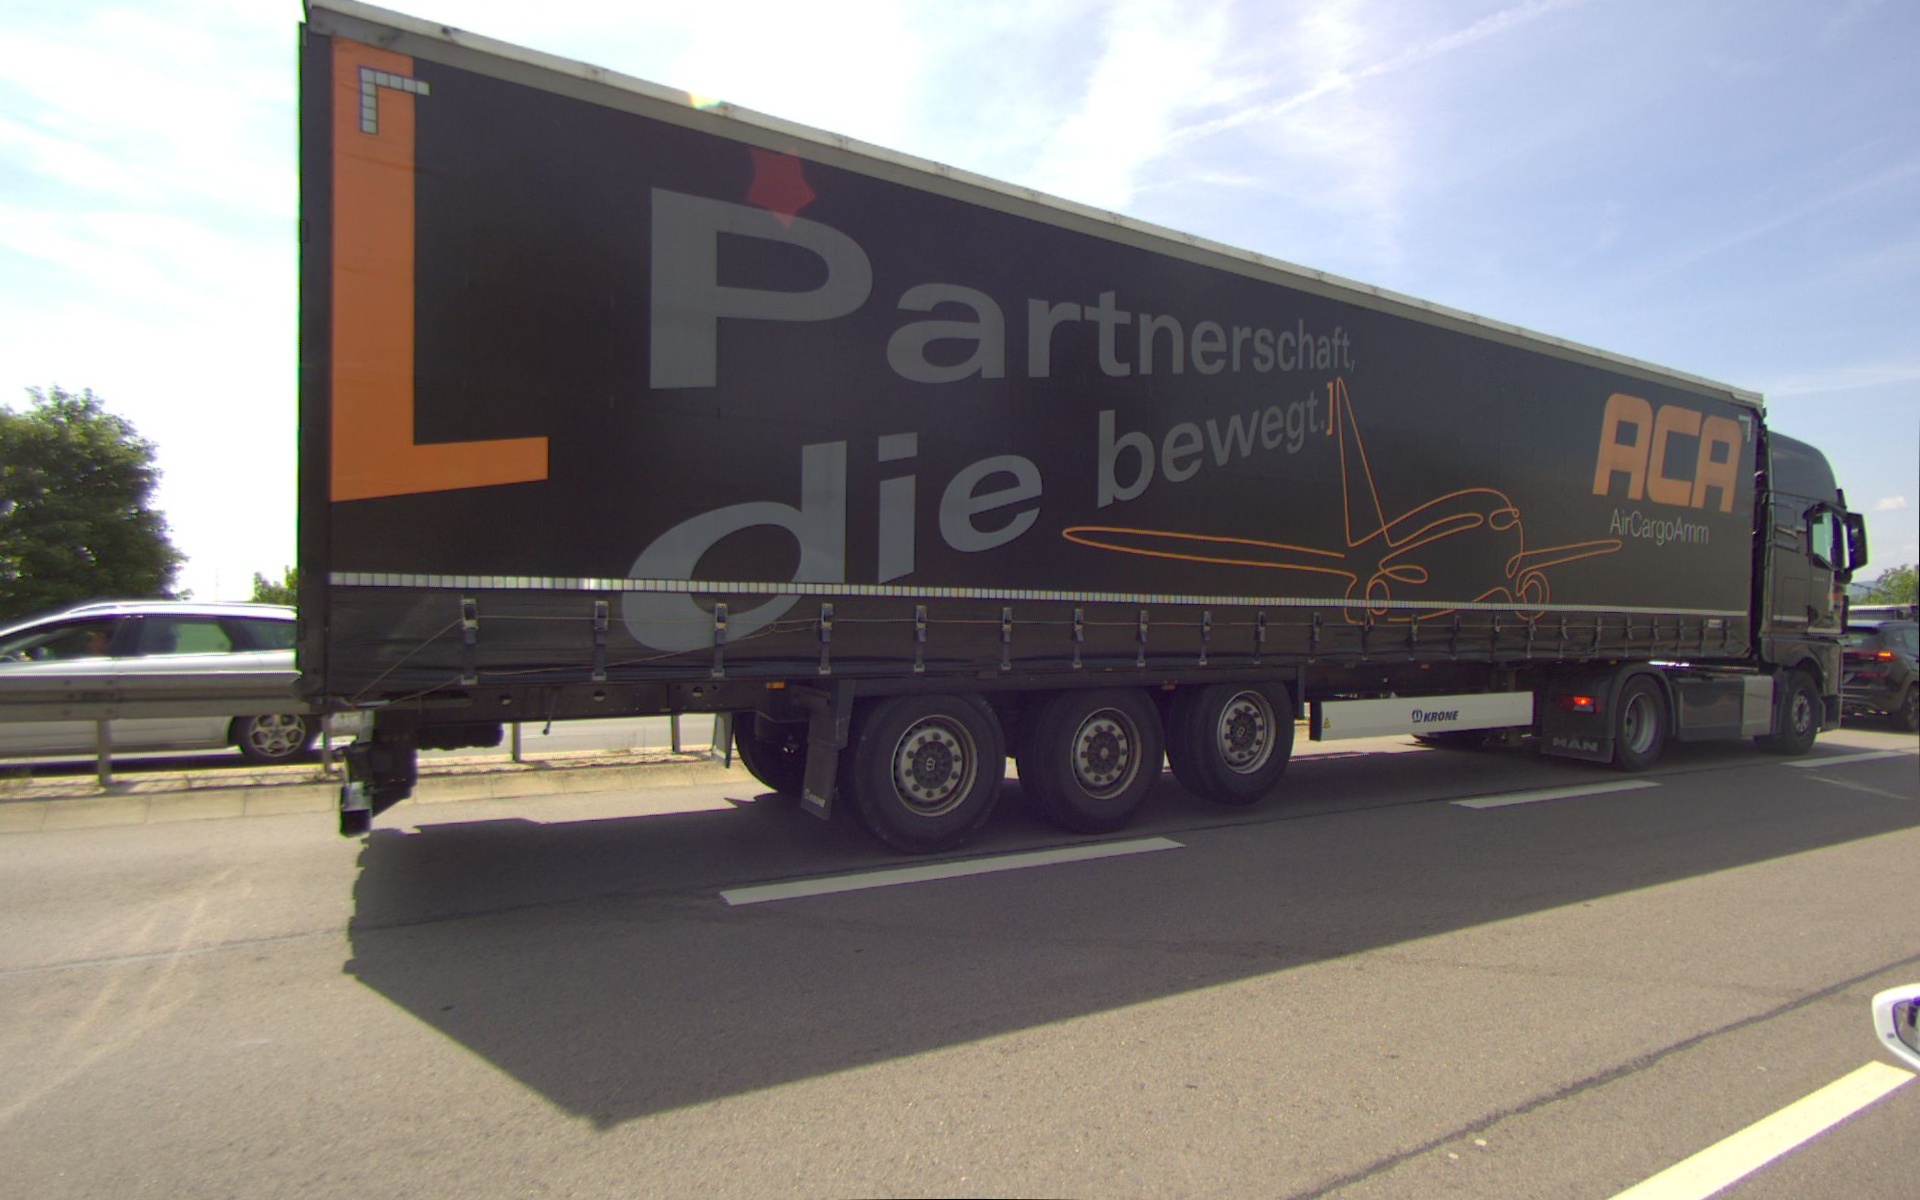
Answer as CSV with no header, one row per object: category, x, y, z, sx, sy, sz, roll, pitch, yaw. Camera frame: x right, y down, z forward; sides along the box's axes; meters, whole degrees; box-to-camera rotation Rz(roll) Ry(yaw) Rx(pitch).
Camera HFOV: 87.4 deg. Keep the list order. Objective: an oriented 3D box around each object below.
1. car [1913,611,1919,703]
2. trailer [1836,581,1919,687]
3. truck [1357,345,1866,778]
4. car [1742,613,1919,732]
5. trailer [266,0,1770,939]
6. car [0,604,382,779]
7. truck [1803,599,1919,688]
car,21.498,1.192,20.365,4.692,1.822,1.760,2,0,-28
trailer,42.605,1.576,41.784,19.553,3.812,2.629,2,-2,-28
truck,7.950,-0.286,12.136,5.901,4.067,2.769,2,0,-31
car,14.834,1.110,16.370,4.298,1.679,1.847,2,0,-31
trailer,2.366,-0.400,8.822,13.627,3.965,2.769,2,0,-31
car,-7.974,0.825,9.501,4.276,1.461,1.727,2,-4,-32
truck,34.382,1.637,37.322,5.917,3.053,2.788,2,-2,-29
